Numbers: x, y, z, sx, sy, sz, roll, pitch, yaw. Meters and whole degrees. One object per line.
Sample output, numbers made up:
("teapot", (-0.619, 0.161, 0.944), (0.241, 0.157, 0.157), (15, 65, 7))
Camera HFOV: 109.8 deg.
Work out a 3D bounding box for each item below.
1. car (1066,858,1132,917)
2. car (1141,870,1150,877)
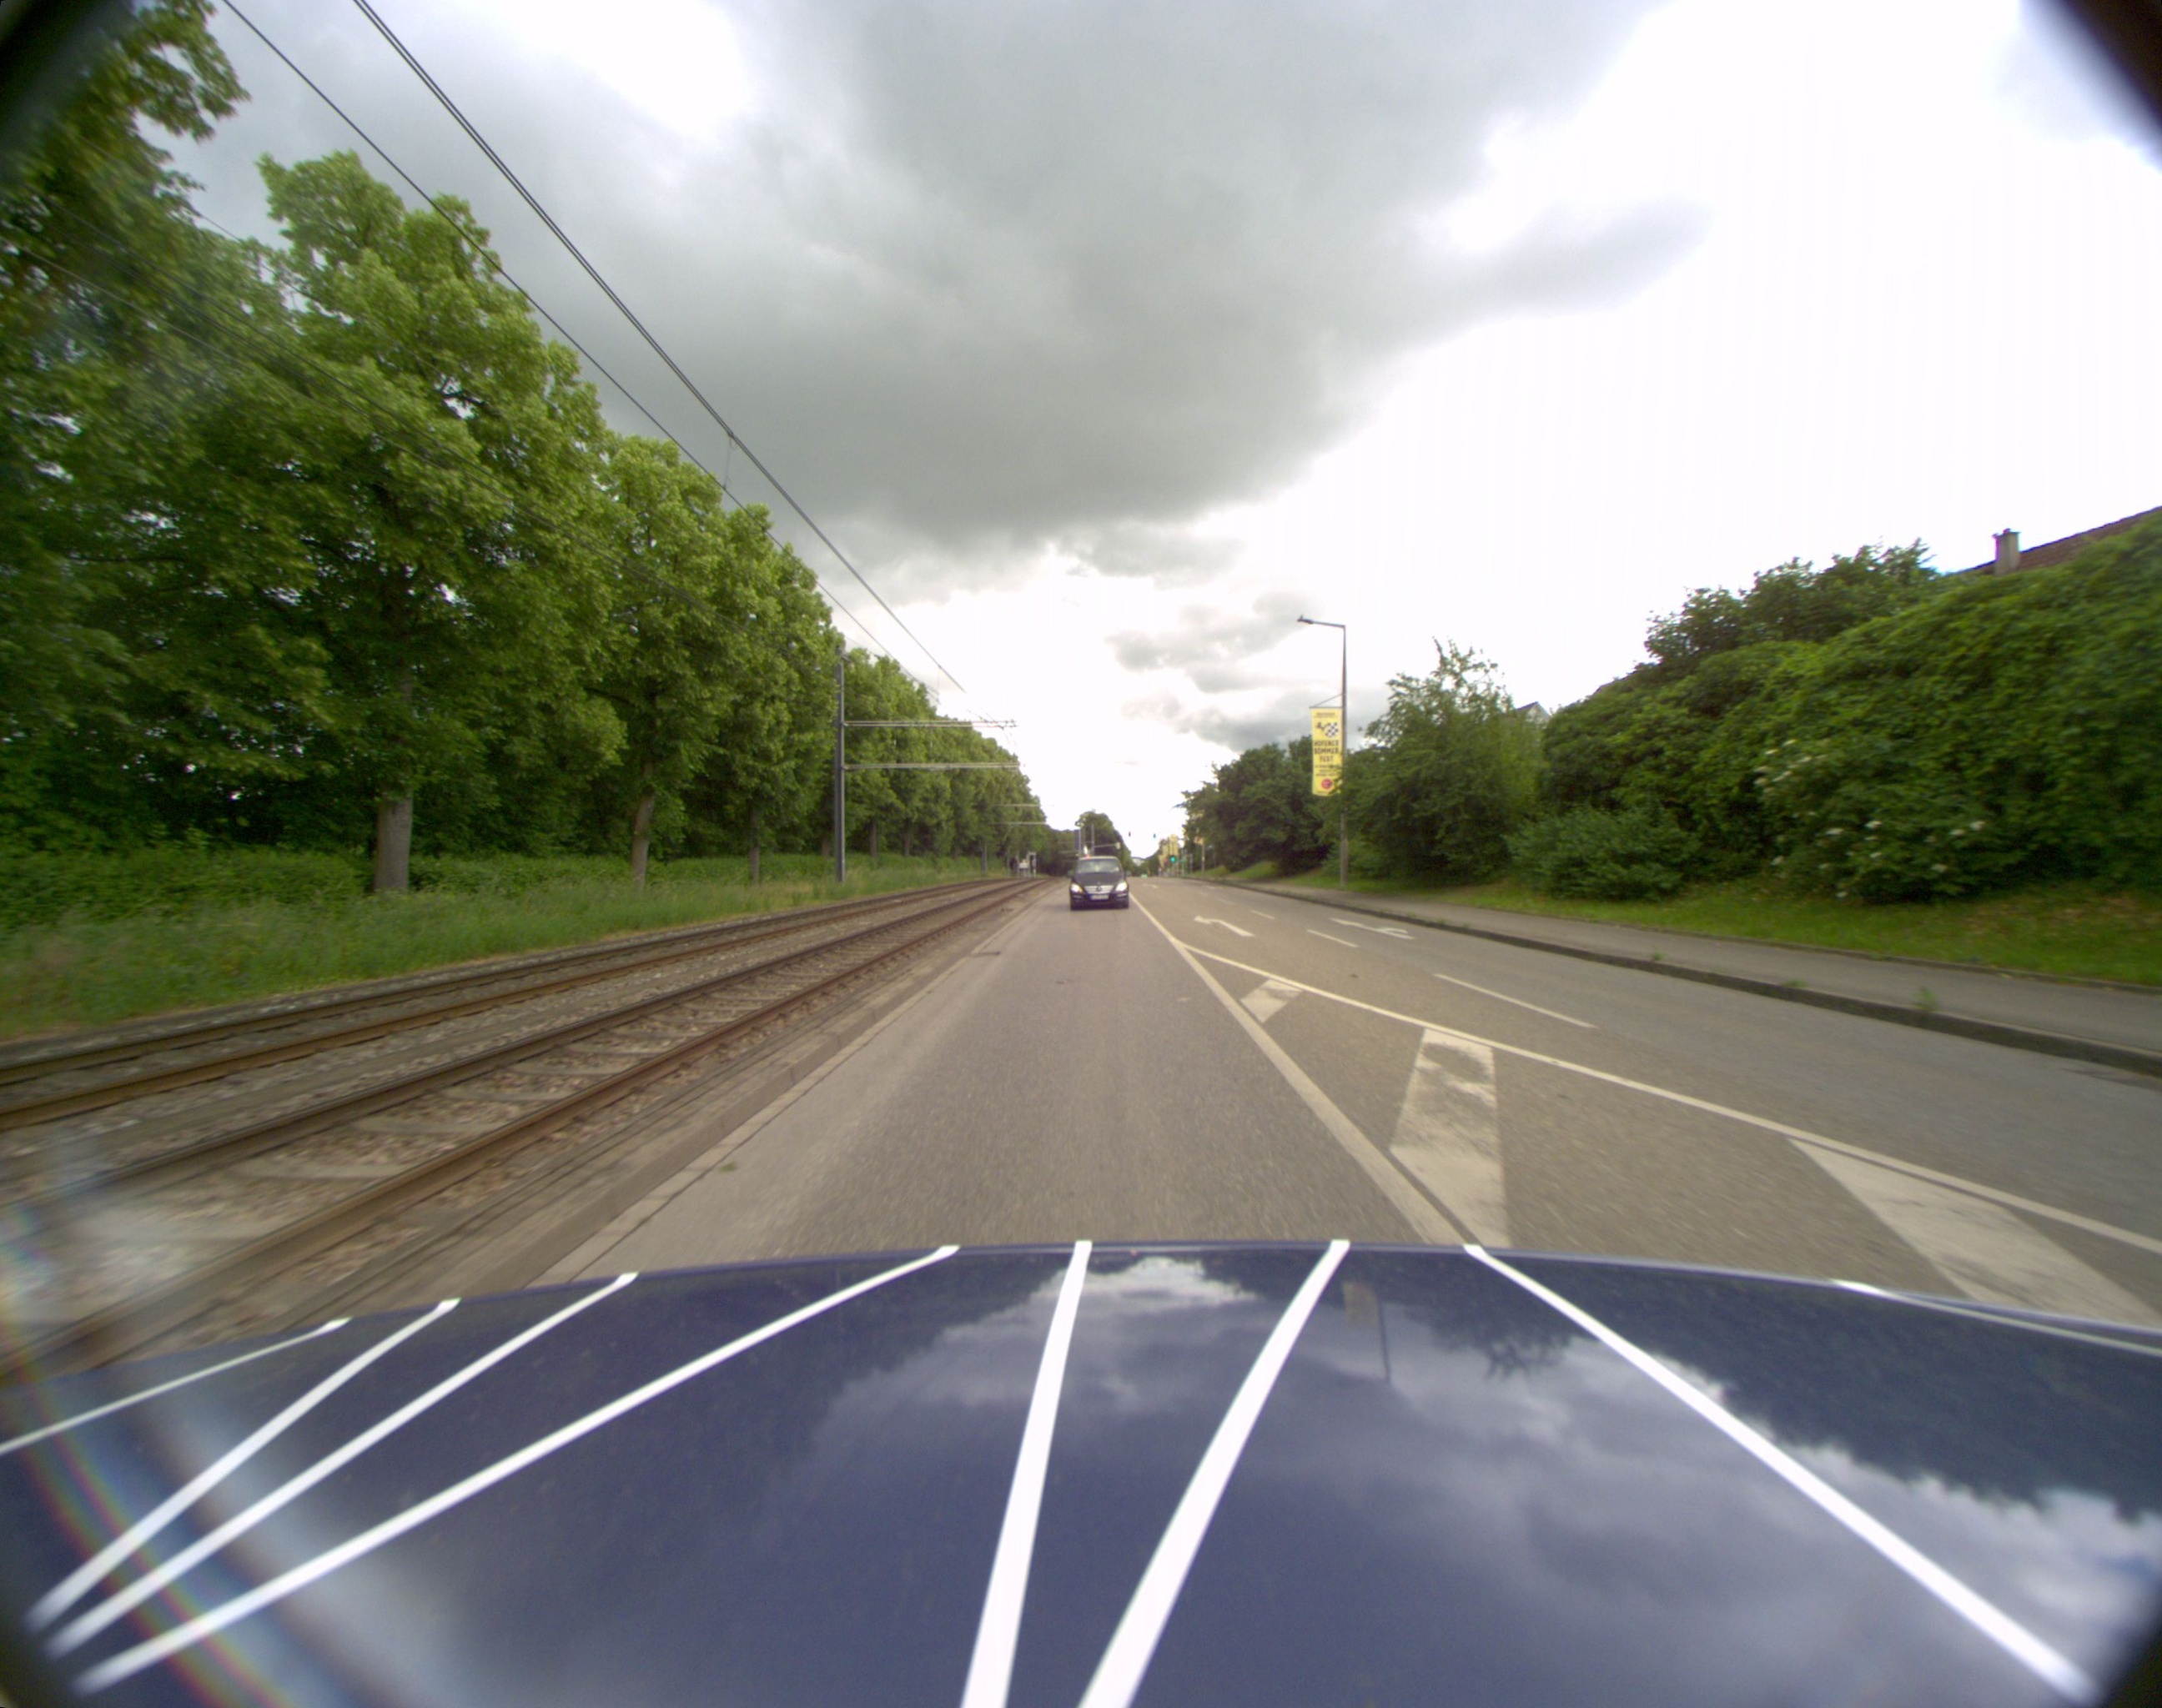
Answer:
("car", (0.597, 0.925, 22.768), (1.749, 1.558, 4.122), (-1, 0, 3))
("car", (17.111, 5.216, 201.922), (2.063, 1.799, 4.732), (1, -1, 3))
